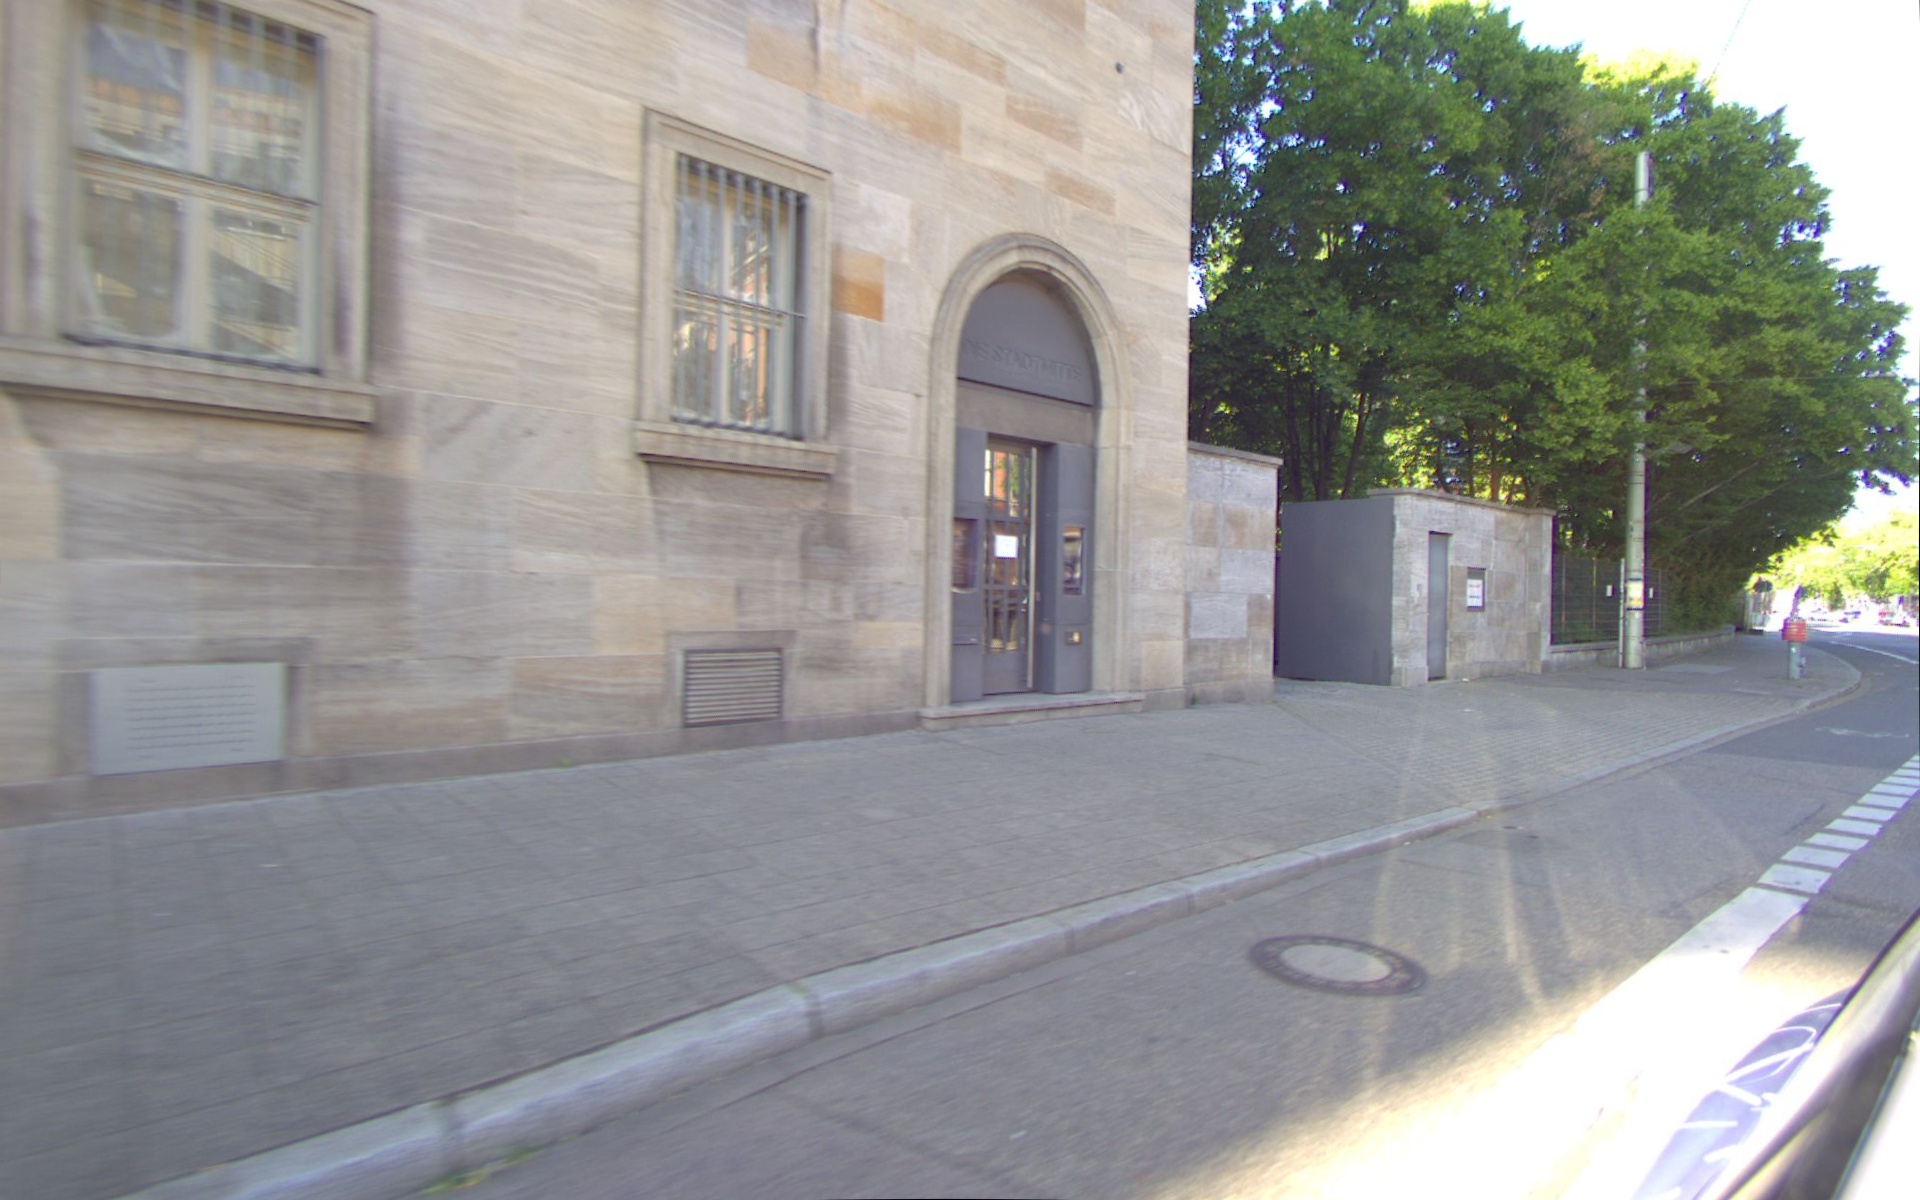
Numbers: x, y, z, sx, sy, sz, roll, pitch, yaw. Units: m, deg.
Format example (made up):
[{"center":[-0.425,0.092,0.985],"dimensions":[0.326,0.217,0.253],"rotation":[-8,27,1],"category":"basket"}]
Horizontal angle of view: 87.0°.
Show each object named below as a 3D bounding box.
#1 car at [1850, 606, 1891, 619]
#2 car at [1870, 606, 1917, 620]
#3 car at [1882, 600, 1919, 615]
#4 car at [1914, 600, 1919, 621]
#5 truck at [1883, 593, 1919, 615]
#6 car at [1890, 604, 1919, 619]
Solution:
[{"center":[120.036,1.666,133.442],"dimensions":[3.742,1.614,1.654],"rotation":[-1,-1,31],"category":"car"},{"center":[110.405,1.531,119.772],"dimensions":[3.742,1.614,1.654],"rotation":[-1,-1,31],"category":"car"},{"center":[108.698,0.866,116.254],"dimensions":[3.742,1.614,1.654],"rotation":[-1,-1,31],"category":"car"},{"center":[90.546,0.925,92.734],"dimensions":[4.273,1.976,1.654],"rotation":[-1,-1,31],"category":"car"},{"center":[106.813,0.437,114.112],"dimensions":[3.749,2.454,1.651],"rotation":[-2,-1,36],"category":"truck"},{"center":[104.431,1.225,110.617],"dimensions":[3.742,1.614,1.654],"rotation":[-1,-1,31],"category":"car"}]
